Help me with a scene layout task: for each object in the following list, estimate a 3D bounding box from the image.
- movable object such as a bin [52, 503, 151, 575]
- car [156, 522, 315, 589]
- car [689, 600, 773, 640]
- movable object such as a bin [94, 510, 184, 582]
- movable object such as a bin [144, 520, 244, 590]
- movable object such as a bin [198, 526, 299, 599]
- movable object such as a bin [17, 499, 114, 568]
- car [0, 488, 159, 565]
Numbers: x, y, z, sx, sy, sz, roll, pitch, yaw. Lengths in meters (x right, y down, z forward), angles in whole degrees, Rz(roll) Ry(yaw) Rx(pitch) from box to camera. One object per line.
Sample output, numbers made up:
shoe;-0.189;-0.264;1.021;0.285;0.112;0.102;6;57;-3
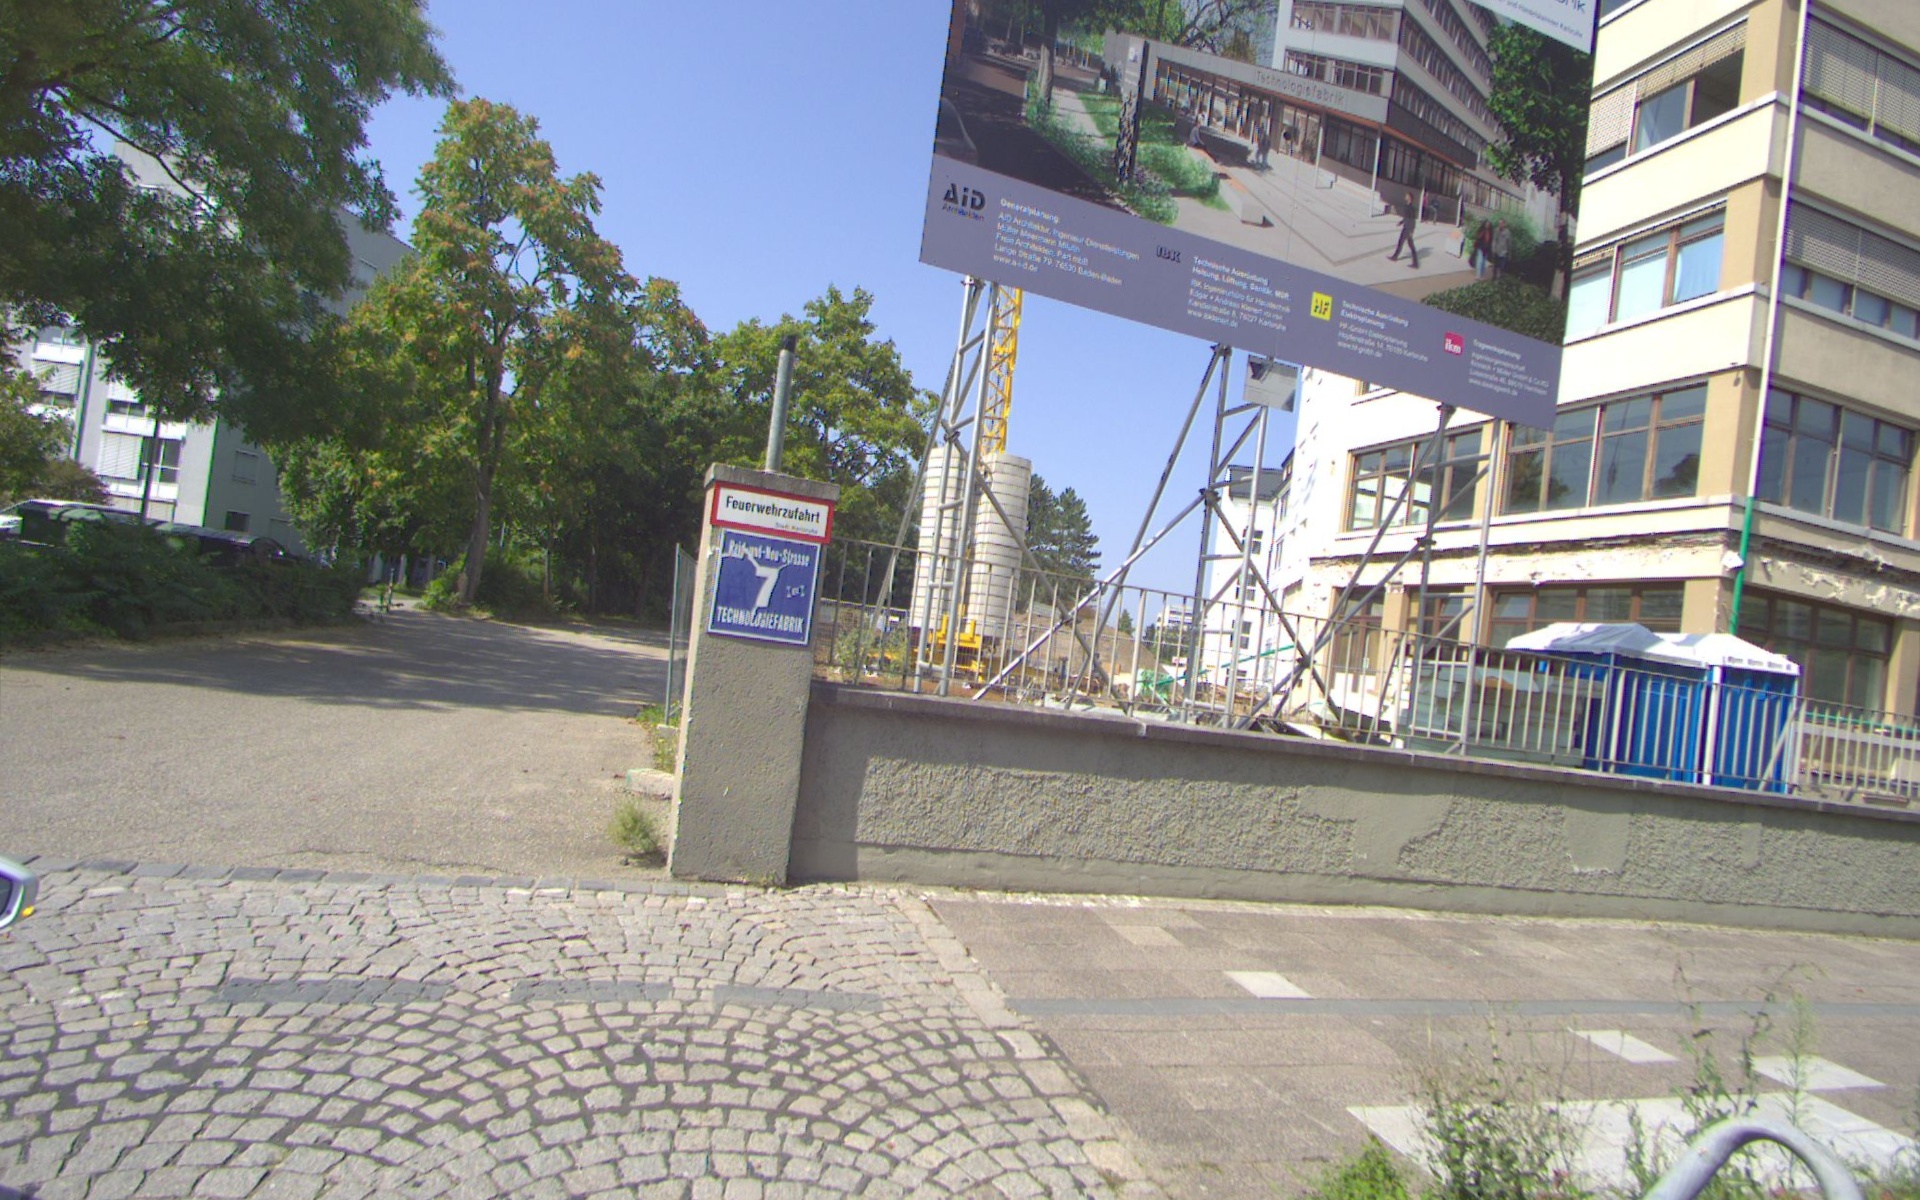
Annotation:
movable object such as a bin;-21.580;-1.515;25.313;1.184;1.512;1.251;8;-2;4
car;-23.696;-1.409;33.091;1.675;1.545;3.918;7;-3;15
car;-13.195;1.183;57.960;4.082;1.631;2.003;8;-2;11
movable object such as a bin;-20.244;-1.315;24.837;1.081;1.498;1.102;8;-2;4
movable object such as a bin;-19.031;-1.096;25.023;1.307;1.447;1.251;8;-2;3
movable object such as a bin;-17.496;-0.898;24.788;1.349;1.509;1.336;9;-2;-5
movable object such as a bin;-23.155;-1.705;26.075;1.184;1.460;1.251;8;-2;4
car;-31.340;-2.591;34.835;2.454;1.902;5.093;7;-2;12
